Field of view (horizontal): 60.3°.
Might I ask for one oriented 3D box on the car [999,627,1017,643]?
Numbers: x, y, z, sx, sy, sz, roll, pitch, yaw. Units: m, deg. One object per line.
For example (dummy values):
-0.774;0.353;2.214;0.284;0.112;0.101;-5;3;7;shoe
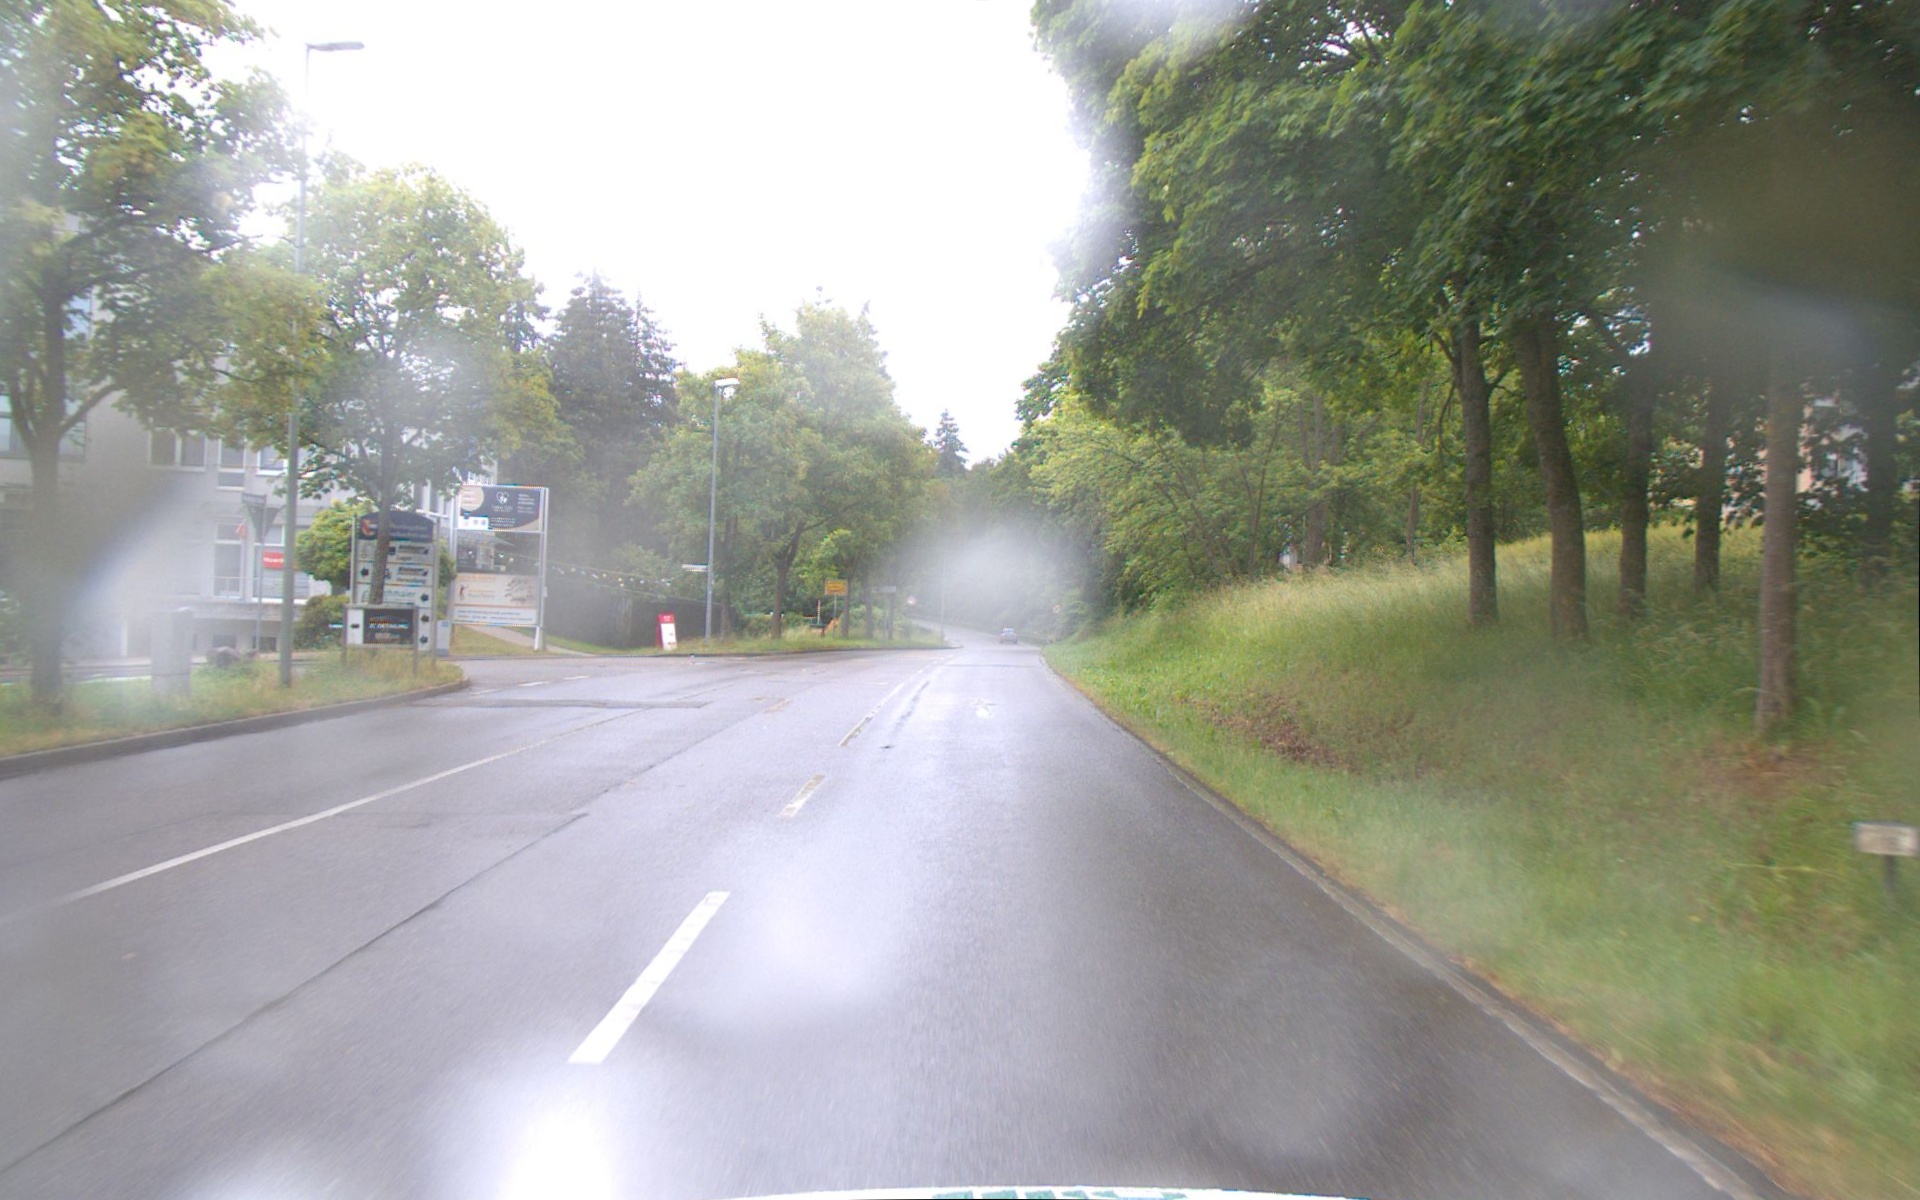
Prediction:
4.853;3.554;167.424;1.701;1.537;4.000;-1;-1;0;car
